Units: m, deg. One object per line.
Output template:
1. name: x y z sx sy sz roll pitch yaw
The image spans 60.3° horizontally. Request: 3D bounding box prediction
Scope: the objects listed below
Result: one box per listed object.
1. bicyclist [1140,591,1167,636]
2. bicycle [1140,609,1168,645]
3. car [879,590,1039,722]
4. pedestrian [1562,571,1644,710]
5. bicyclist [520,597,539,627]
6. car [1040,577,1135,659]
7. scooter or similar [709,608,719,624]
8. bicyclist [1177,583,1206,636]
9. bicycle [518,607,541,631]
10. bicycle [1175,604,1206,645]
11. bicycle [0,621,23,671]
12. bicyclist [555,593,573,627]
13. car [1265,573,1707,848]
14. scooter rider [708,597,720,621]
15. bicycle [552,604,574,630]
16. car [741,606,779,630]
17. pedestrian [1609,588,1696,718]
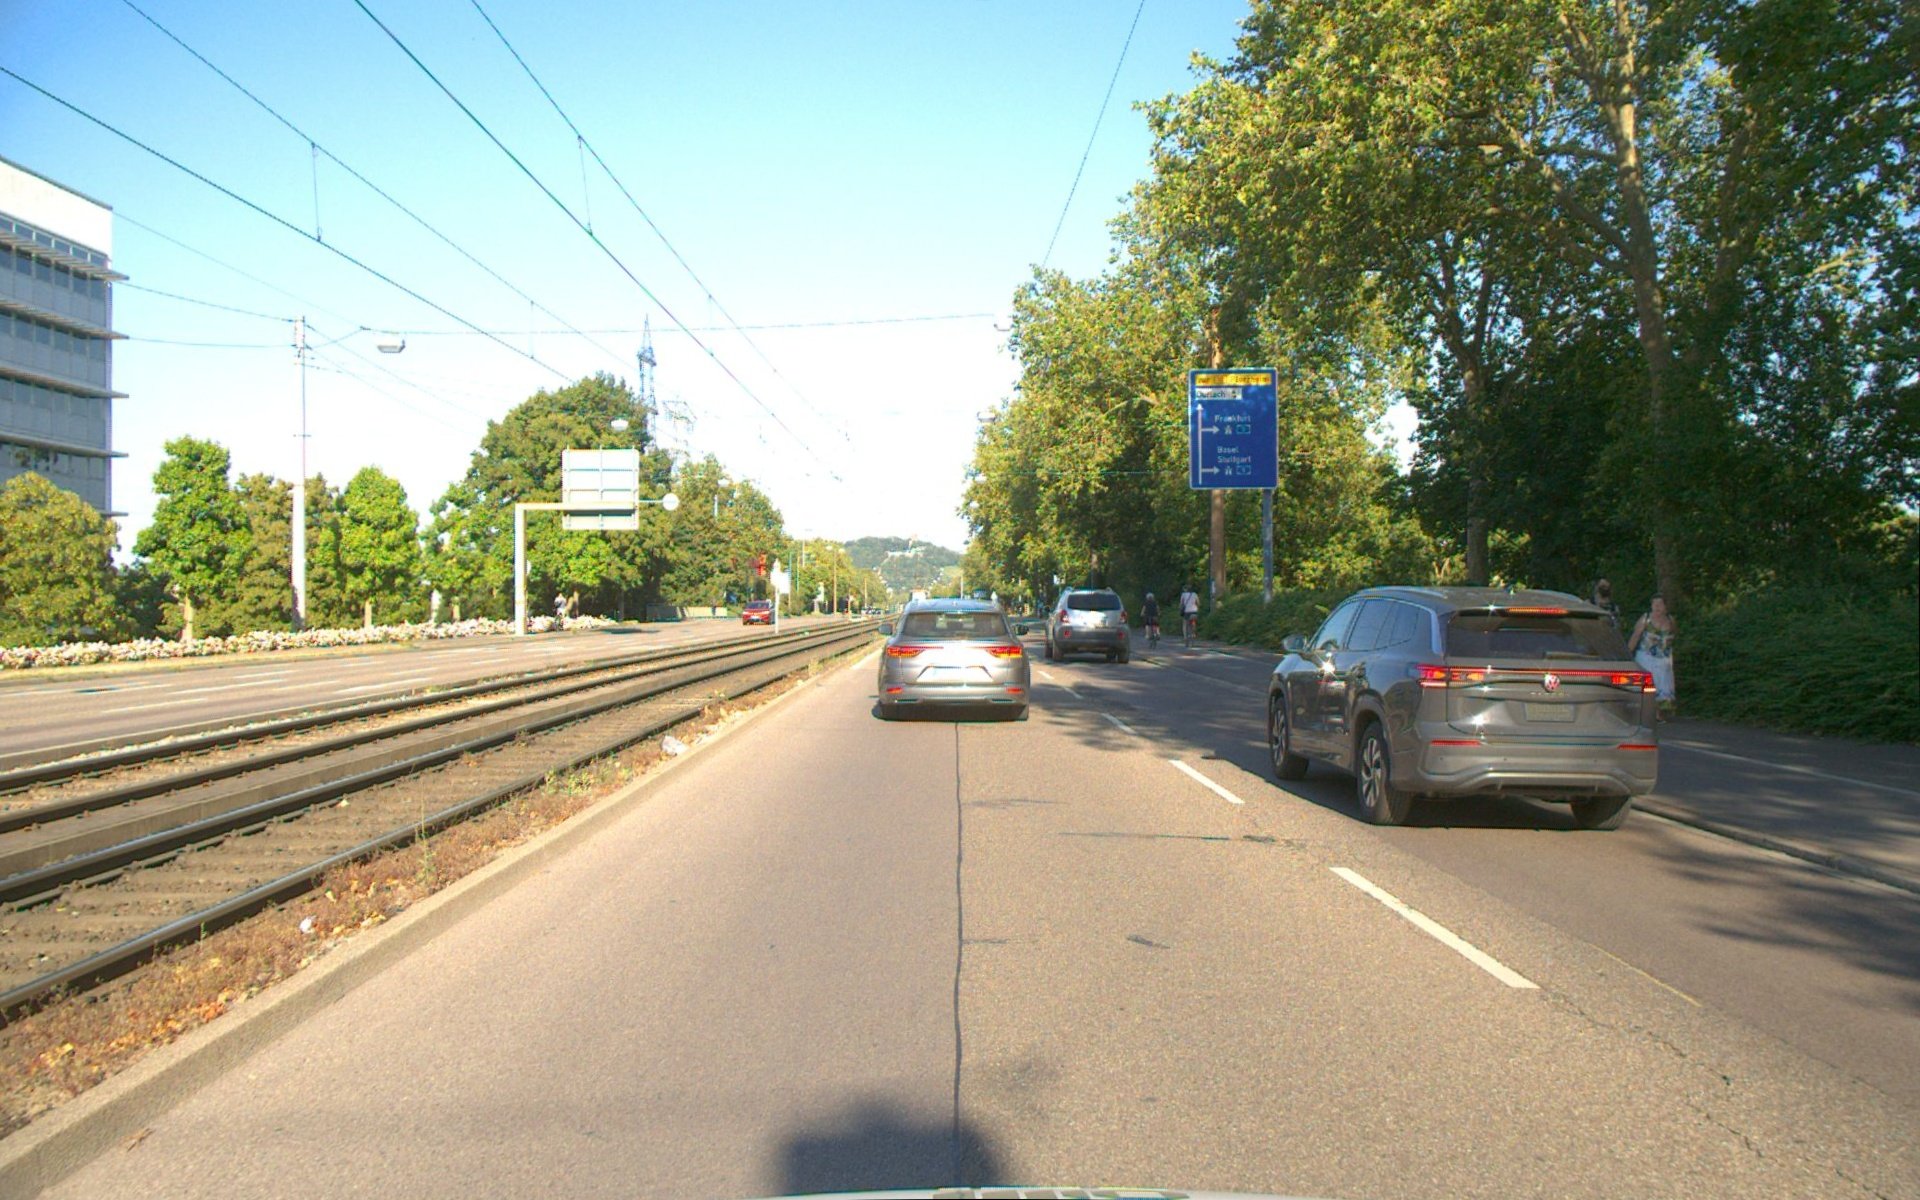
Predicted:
1. bicyclist: 5.590 0.385 47.786 0.628 1.247 0.890 1 0 -1
2. bicycle: 5.588 0.775 47.684 0.554 0.991 1.788 -1 0 -1
3. car: -0.009 0.633 21.262 1.828 1.493 4.666 0 0 0
4. pedestrian: 8.236 0.502 21.219 0.707 1.737 0.813 -1 0 -1
5. bicyclist: -20.577 0.556 79.111 0.612 1.398 0.880 2 0 0
6. car: 3.050 0.408 40.257 1.845 1.827 3.999 2 0 -1
7. scooter or similar: -20.072 1.319 134.886 0.462 1.319 1.263 0 0 6
8. bicyclist: 6.678 0.270 47.728 0.671 1.535 0.890 0 0 -1
9. bicycle: -20.590 0.908 79.136 0.612 1.077 1.703 2 0 0
10. bicycle: 6.648 0.693 47.696 0.609 1.140 1.813 -1 0 -1
11. bicycle: -21.999 1.047 37.035 0.690 1.092 2.029 2 0 6
12. bicyclist: -20.318 0.520 84.829 0.590 1.688 0.963 2 0 3
13. car: 3.723 0.682 12.623 1.807 1.690 4.438 1 0 -2
14. scooter rider: -20.076 0.739 134.960 0.667 1.881 1.001 -1 0 7
15. bicycle: -20.330 0.866 84.759 0.590 1.240 1.749 2 0 3
16. car: -13.342 1.166 110.561 1.998 1.529 4.887 0 0 0
17. pedestrian: 8.229 0.616 19.669 0.708 1.506 0.722 -1 0 -1
